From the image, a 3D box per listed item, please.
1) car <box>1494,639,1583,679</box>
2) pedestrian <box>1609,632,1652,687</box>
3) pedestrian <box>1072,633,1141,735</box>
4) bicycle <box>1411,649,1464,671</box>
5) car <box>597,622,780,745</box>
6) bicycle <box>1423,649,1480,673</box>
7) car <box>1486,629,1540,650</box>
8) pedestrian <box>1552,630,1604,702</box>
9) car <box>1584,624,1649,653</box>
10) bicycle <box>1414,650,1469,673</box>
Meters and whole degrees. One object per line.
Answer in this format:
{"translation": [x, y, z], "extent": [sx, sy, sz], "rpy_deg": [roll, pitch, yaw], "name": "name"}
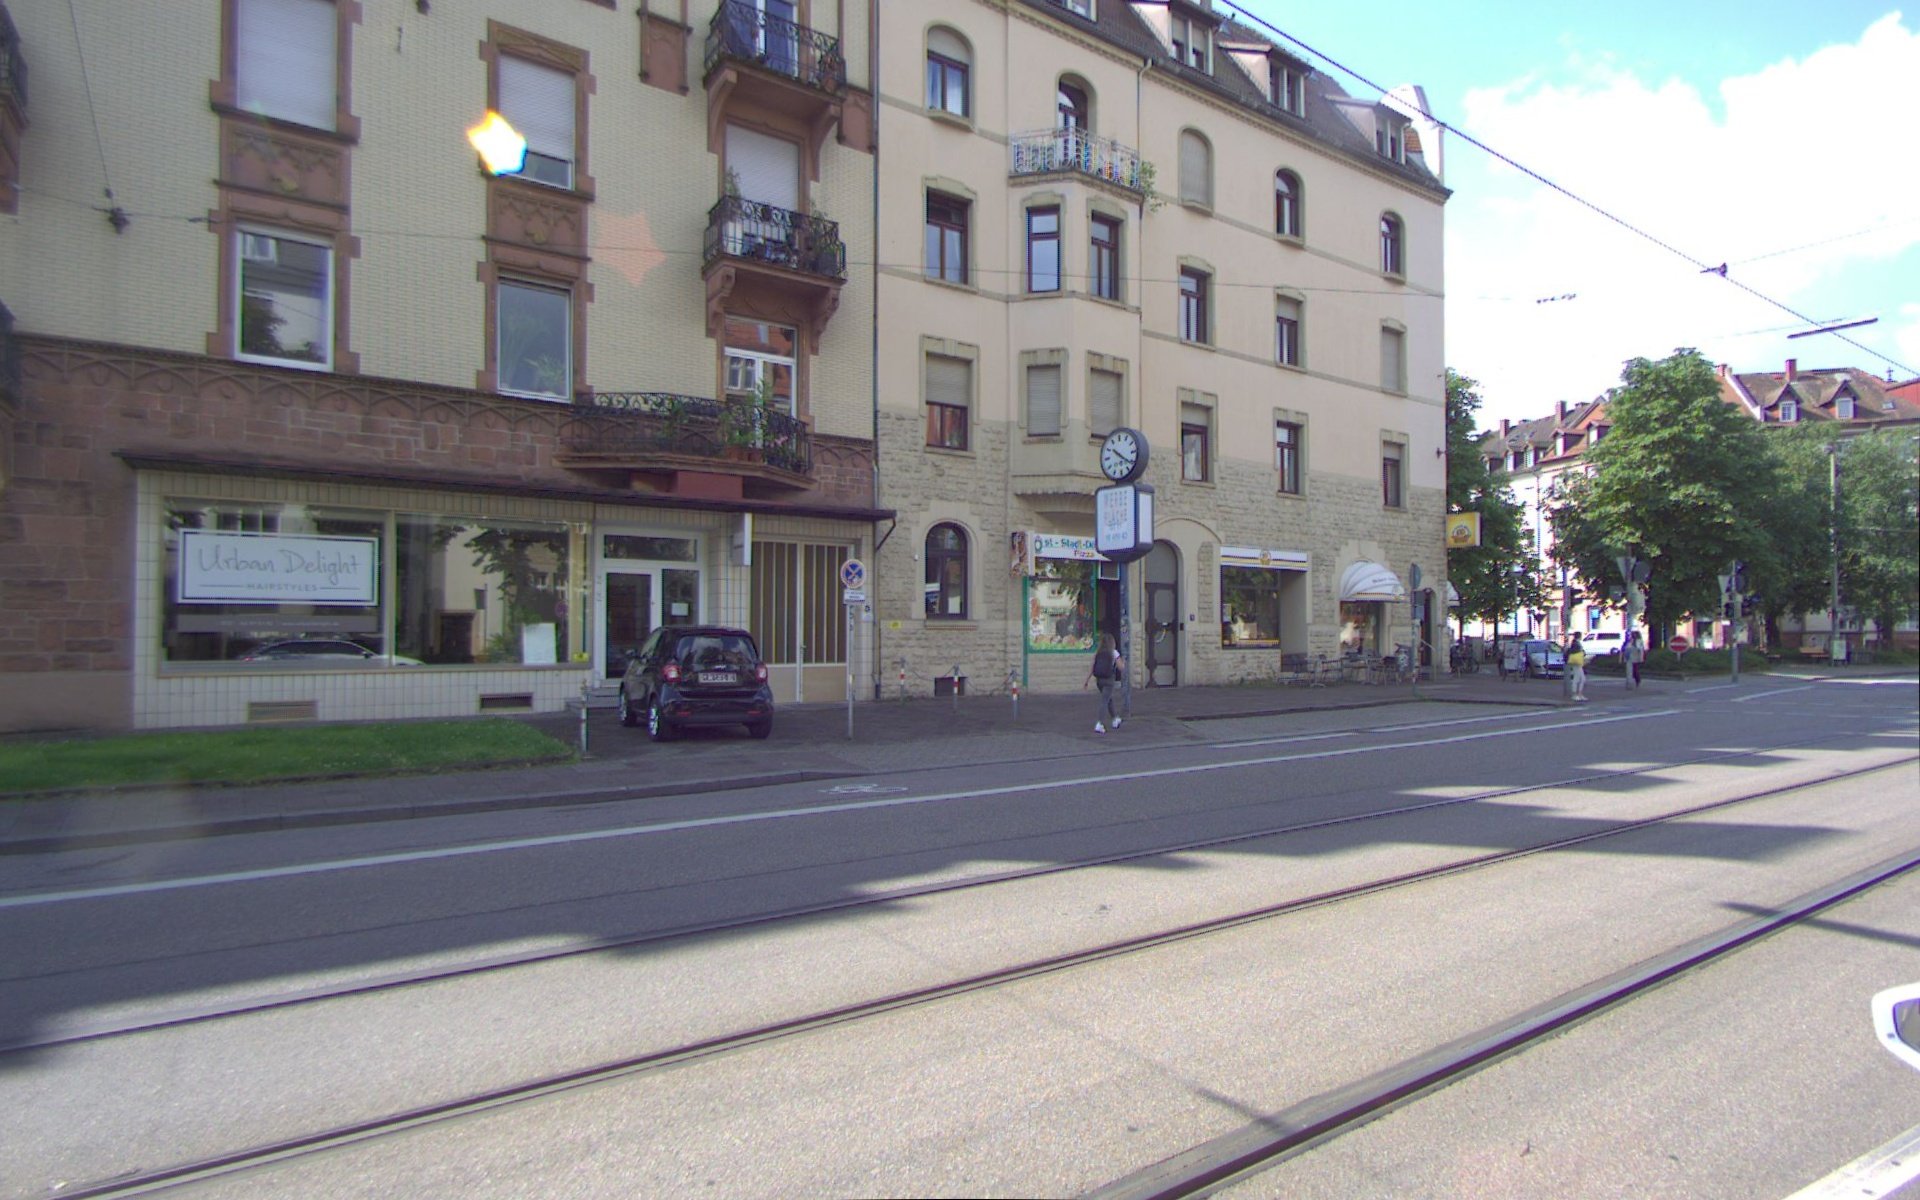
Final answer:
{"translation": [22.067, 2.224, 38.482], "extent": [1.686, 1.439, 3.876], "rpy_deg": [0, -2, 10], "name": "car"}
{"translation": [21.055, 1.840, 31.556], "extent": [0.813, 1.694, 0.850], "rpy_deg": [1, -2, -32], "name": "pedestrian"}
{"translation": [2.429, 1.356, 16.612], "extent": [0.684, 1.562, 0.960], "rpy_deg": [4, 2, 36], "name": "pedestrian"}
{"translation": [20.581, 2.577, 43.357], "extent": [1.990, 0.894, 0.512], "rpy_deg": [1, -2, 13], "name": "bicycle"}
{"translation": [-4.113, 1.127, 14.886], "extent": [1.687, 1.506, 3.425], "rpy_deg": [1, 0, -32], "name": "car"}
{"translation": [19.963, 2.482, 40.845], "extent": [1.990, 0.894, 0.523], "rpy_deg": [1, -2, 13], "name": "bicycle"}
{"translation": [45.970, 3.298, 83.610], "extent": [1.882, 1.685, 3.934], "rpy_deg": [1, -2, -11], "name": "car"}
{"translation": [15.740, 1.665, 25.592], "extent": [0.865, 1.727, 0.751], "rpy_deg": [1, 2, -34], "name": "pedestrian"}
{"translation": [48.247, 2.811, 73.916], "extent": [1.823, 2.015, 3.942], "rpy_deg": [0, -2, -10], "name": "car"}
{"translation": [20.209, 2.595, 42.173], "extent": [1.990, 0.894, 0.512], "rpy_deg": [1, -2, 13], "name": "bicycle"}
